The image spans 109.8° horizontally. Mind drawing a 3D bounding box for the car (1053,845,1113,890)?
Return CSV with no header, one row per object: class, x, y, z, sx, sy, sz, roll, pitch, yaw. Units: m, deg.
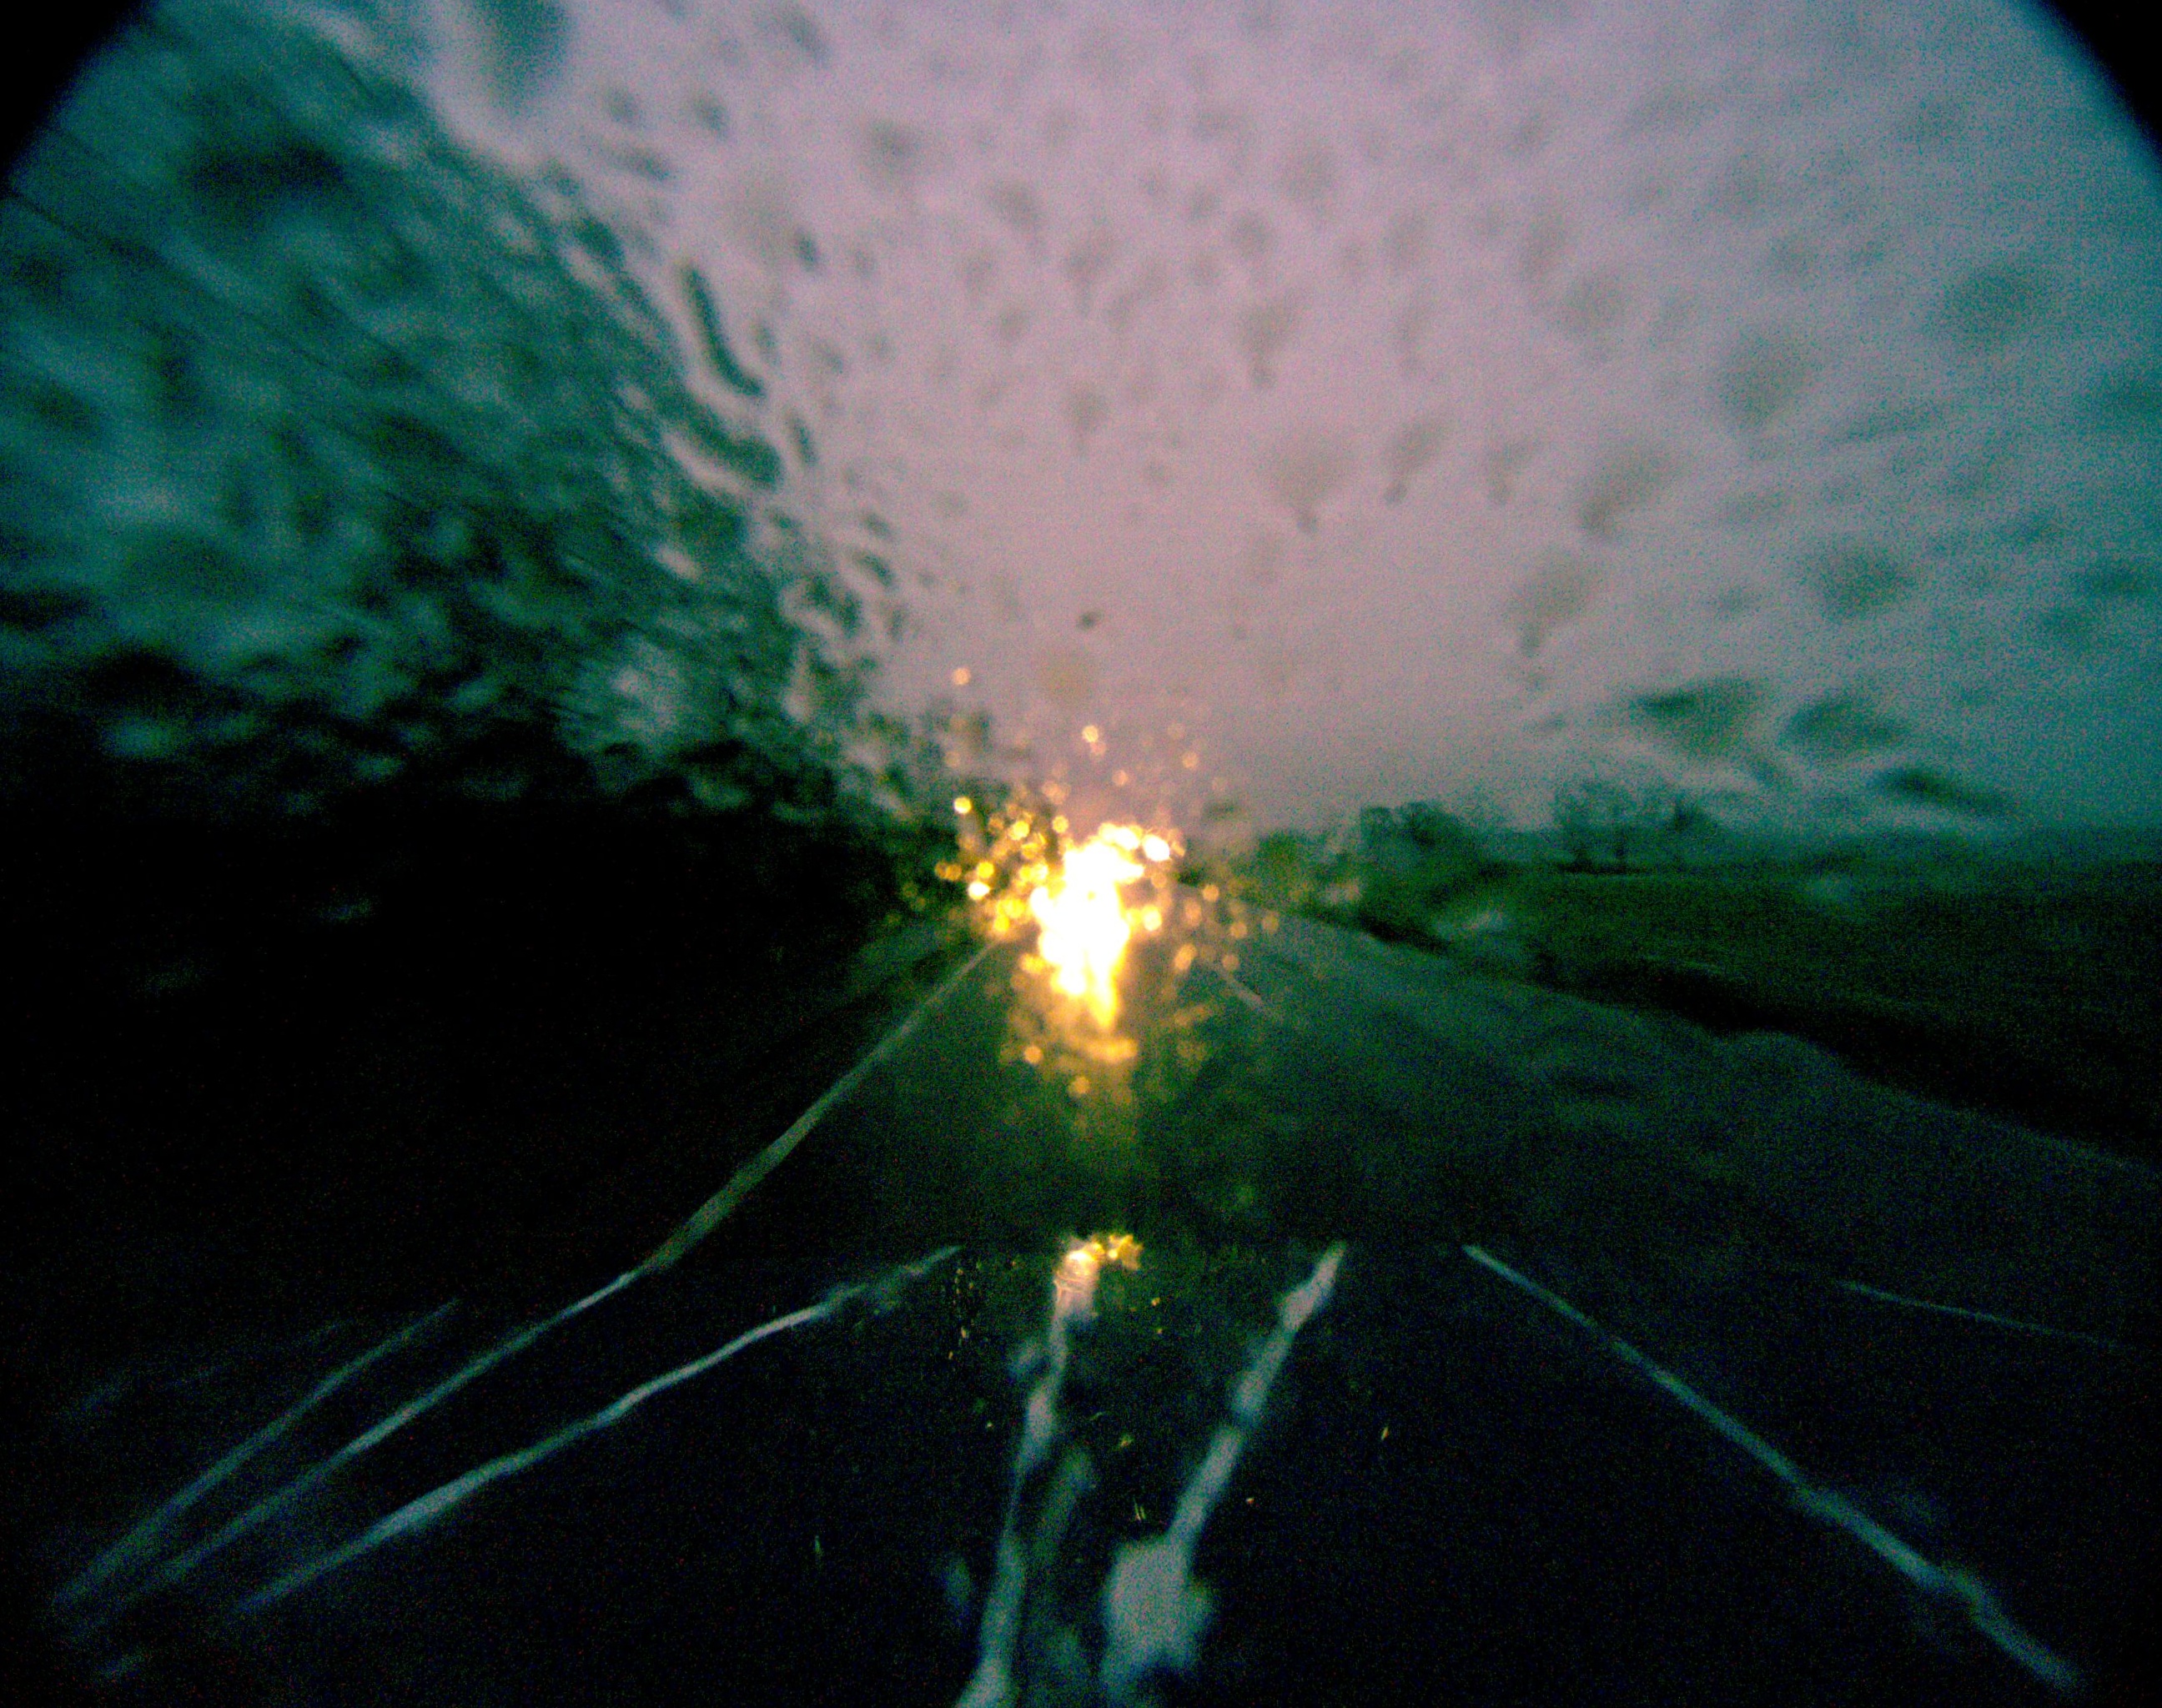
car,0.148,0.587,37.664,2.704,1.974,5.804,-2,1,1
